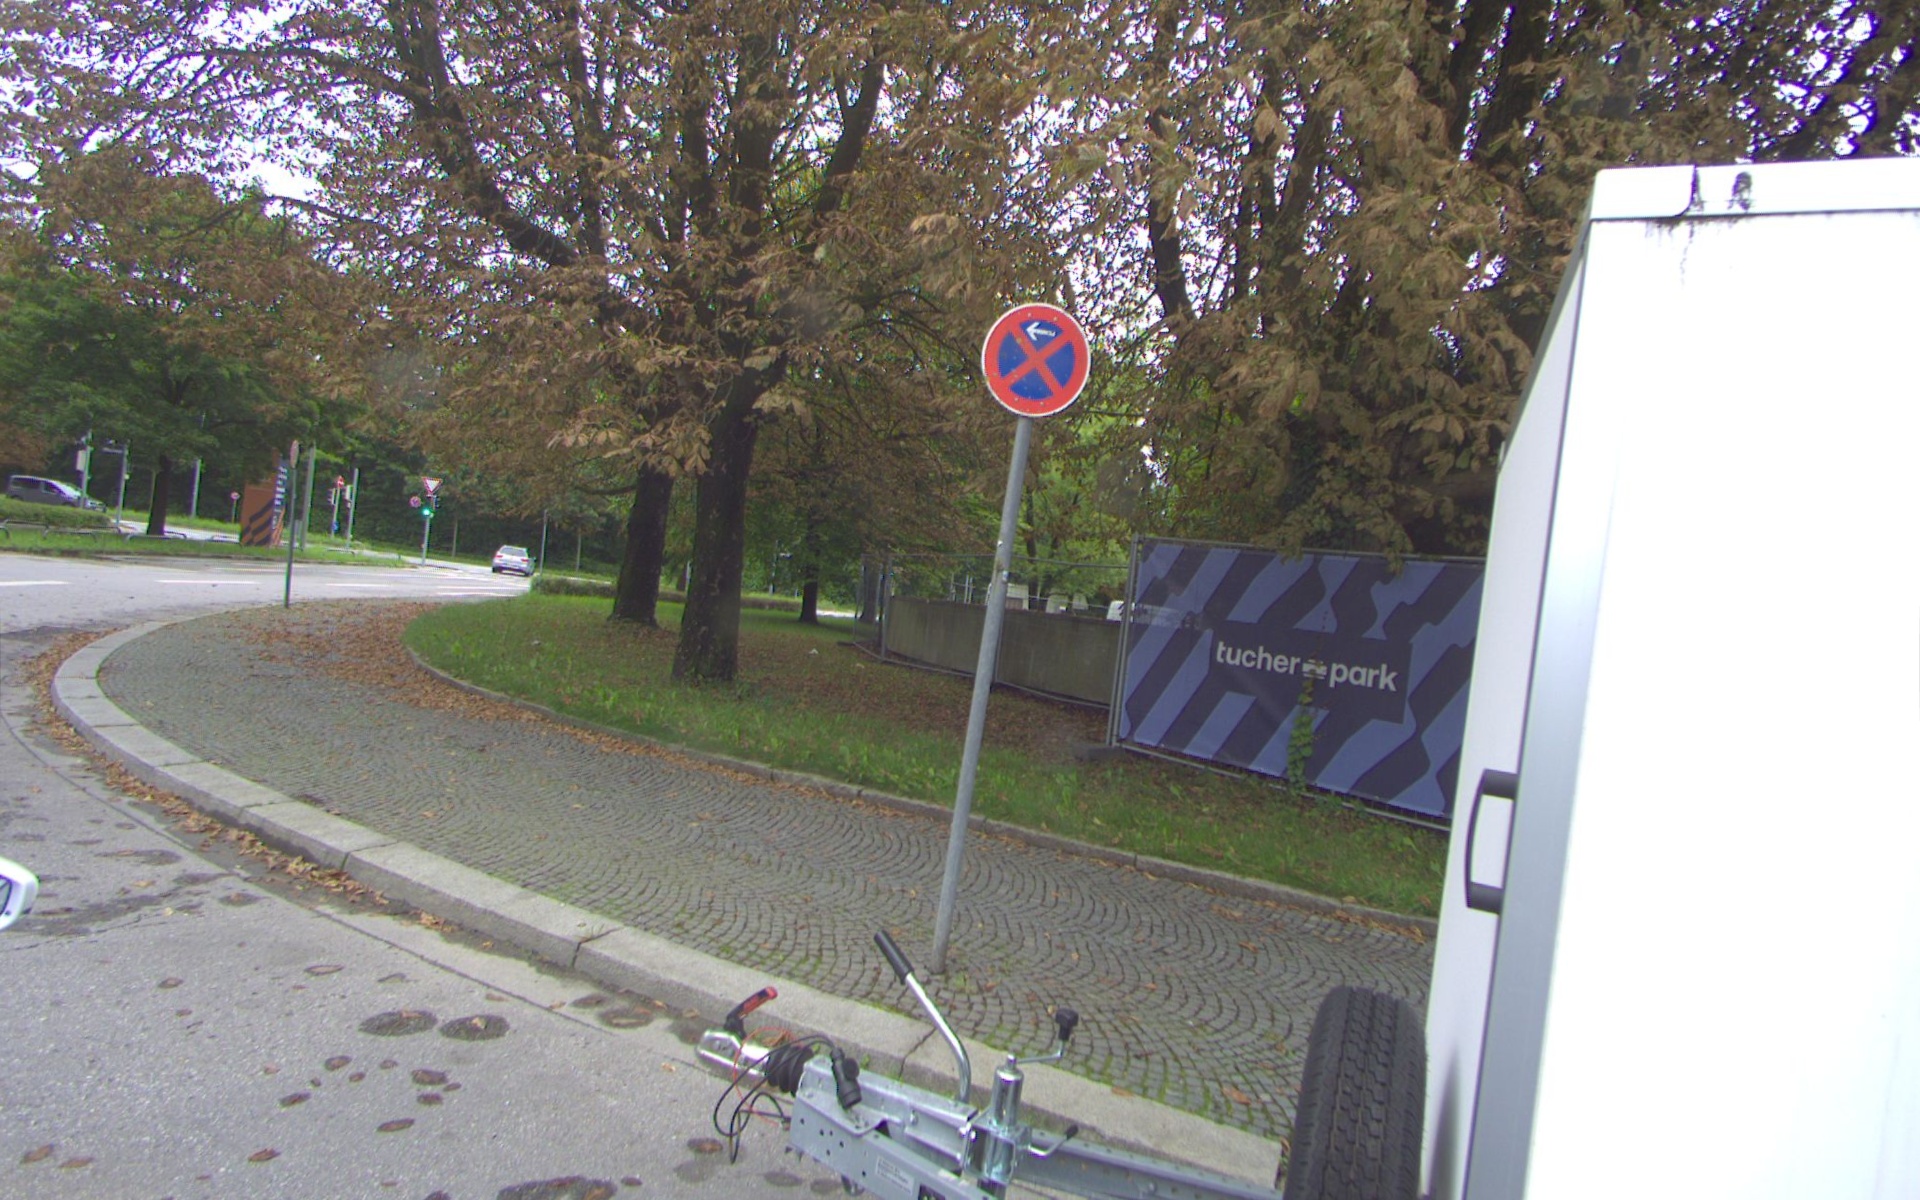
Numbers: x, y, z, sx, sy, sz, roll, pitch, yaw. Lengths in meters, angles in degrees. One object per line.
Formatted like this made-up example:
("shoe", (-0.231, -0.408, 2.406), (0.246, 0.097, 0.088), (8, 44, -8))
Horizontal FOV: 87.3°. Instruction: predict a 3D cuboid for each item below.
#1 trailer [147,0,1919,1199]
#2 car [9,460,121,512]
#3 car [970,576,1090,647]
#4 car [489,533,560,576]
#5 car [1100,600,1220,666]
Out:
("trailer", (1.125, 0.546, 1.514), (4.749, 2.038, 1.813), (7, 0, 27))
("car", (-48.378, -6.121, 54.460), (3.931, 2.038, 1.997), (8, 0, -8))
("car", (3.455, 0.578, 50.476), (5.495, 2.768, 2.076), (8, 0, -2))
("car", (-21.984, -2.258, 50.940), (1.965, 1.771, 4.120), (7, 0, -6))
("car", (10.075, 1.646, 51.019), (5.359, 2.612, 2.076), (8, 0, -2))
